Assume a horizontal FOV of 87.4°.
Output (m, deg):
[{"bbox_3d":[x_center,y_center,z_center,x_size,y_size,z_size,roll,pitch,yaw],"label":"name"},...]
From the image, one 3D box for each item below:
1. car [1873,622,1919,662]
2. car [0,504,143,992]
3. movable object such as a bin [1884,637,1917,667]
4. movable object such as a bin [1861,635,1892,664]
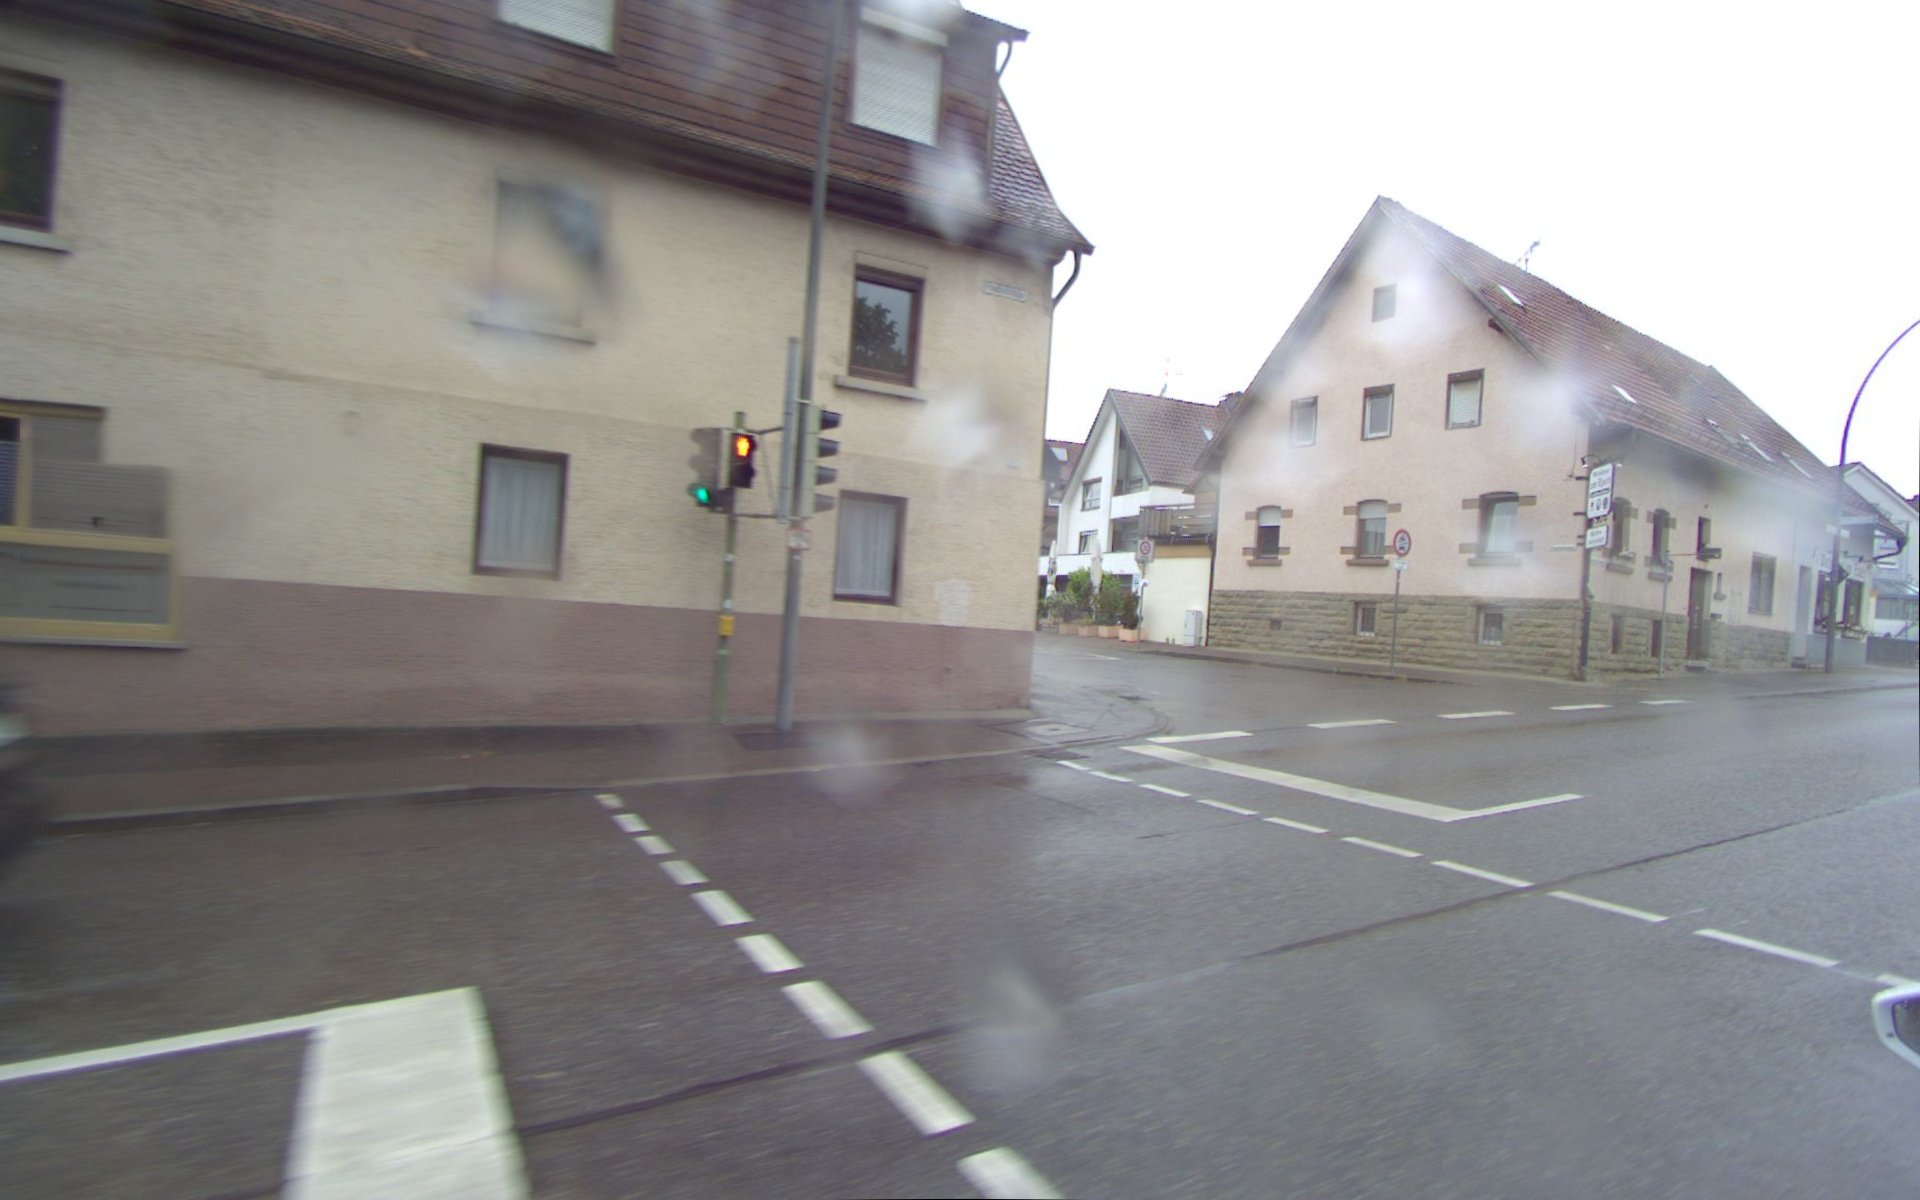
[{"bbox_3d":[38.264,1.681,39.420,3.766,1.461,1.901,2,2,-16],"label":"car"},{"bbox_3d":[-5.479,0.480,3.392,3.956,1.728,1.982,2,-1,-33],"label":"car"},{"bbox_3d":[33.600,1.854,35.878,0.663,1.046,0.637,2,-1,-21],"label":"movable object such as a bin"},{"bbox_3d":[33.339,1.791,36.534,0.596,1.046,0.637,2,-1,-21],"label":"movable object such as a bin"}]
